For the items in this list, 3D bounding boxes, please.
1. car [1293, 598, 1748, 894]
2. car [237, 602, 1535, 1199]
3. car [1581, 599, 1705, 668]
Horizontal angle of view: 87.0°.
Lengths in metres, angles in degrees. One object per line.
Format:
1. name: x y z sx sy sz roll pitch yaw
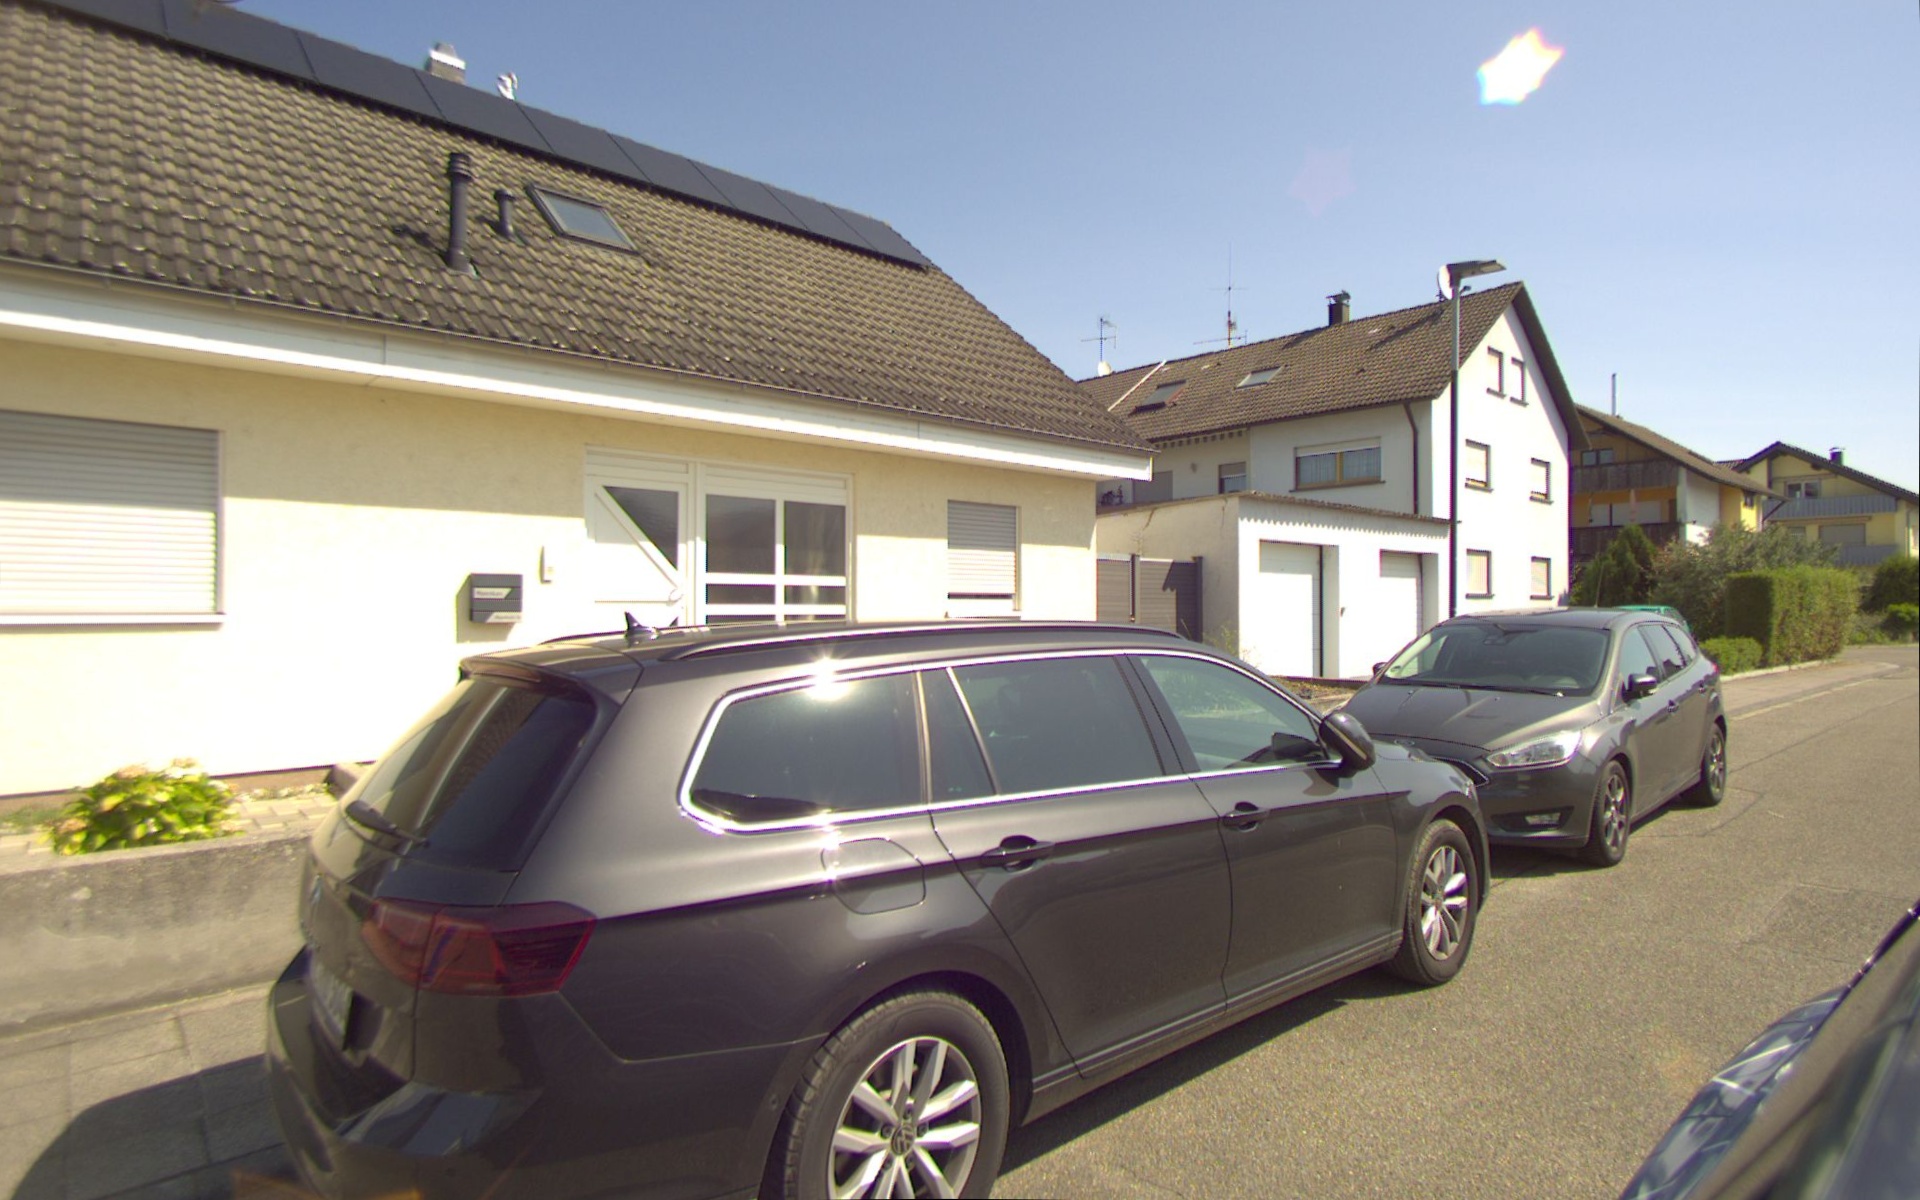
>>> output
1. car: 4.139 0.778 7.187 3.932 1.498 1.643 0 -2 -43
2. car: 0.232 0.753 3.573 4.423 1.457 1.720 0 0 -40
3. car: 14.867 0.681 21.986 3.467 1.376 1.495 0 0 -43
